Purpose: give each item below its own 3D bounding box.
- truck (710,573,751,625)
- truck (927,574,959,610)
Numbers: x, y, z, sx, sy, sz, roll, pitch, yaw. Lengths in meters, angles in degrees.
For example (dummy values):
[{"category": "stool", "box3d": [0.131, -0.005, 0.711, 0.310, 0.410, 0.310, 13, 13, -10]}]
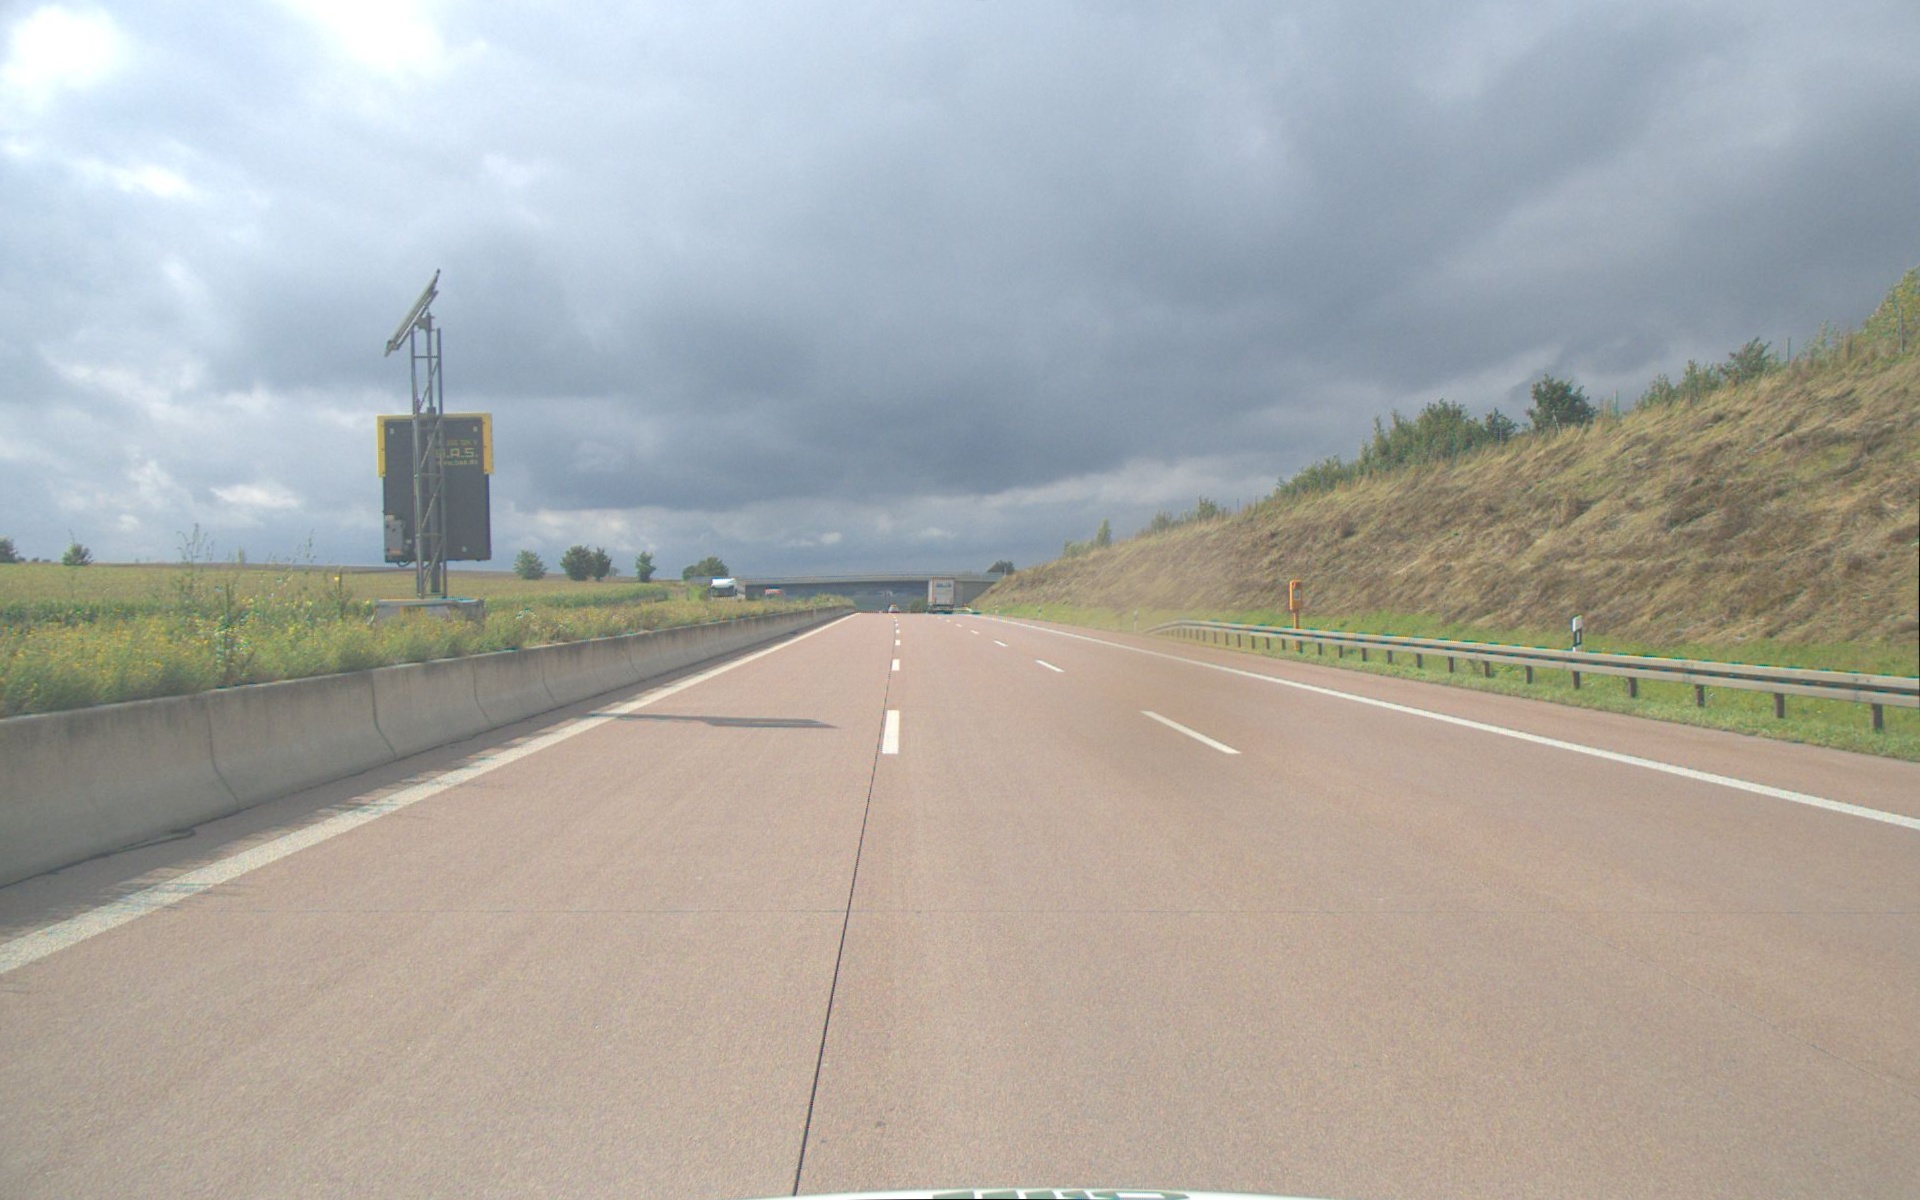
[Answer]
[{"category": "truck", "box3d": [-23.827, -0.136, 172.411, 2.930, 5.154, 10.981, 1, 1, -2]}, {"category": "truck", "box3d": [-2.006, -0.963, 192.316, 3.544, 4.014, 11.172, 1, 1, -1]}]
